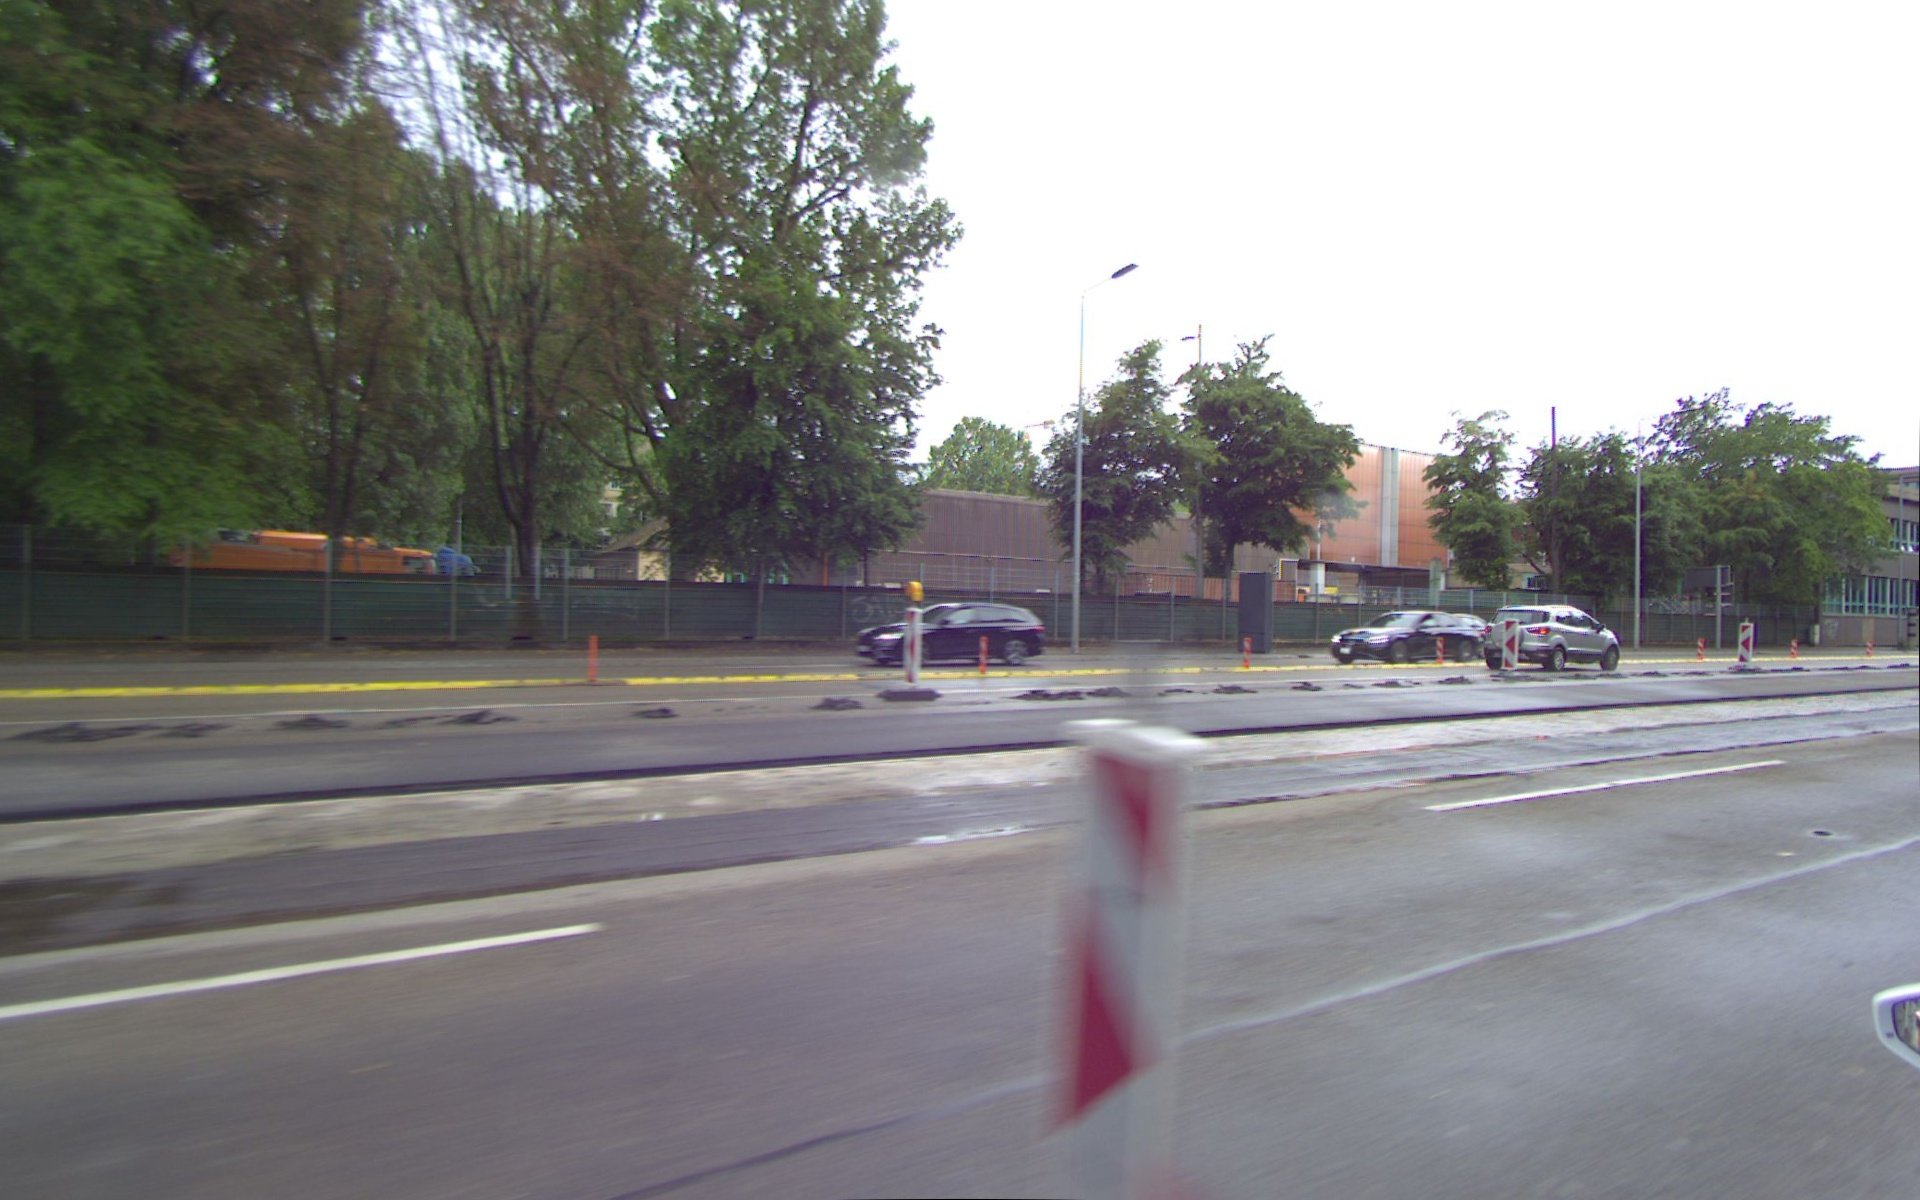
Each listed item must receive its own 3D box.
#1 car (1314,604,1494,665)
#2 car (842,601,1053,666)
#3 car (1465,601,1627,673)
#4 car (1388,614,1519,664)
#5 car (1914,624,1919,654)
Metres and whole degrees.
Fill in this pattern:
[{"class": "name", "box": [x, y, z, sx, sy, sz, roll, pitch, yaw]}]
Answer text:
[{"class": "car", "box": [12.449, 0.932, 28.074, 5.030, 1.533, 2.068, 1, 0, -31]}, {"class": "car", "box": [-0.267, 0.781, 23.305, 4.510, 1.366, 1.985, 2, 0, -29]}, {"class": "car", "box": [14.859, 0.918, 25.449, 3.954, 1.670, 1.845, 2, 0, -31]}, {"class": "car", "box": [16.703, 1.314, 33.970, 4.255, 1.538, 1.984, 2, 0, -31]}, {"class": "car", "box": [50.742, 2.017, 51.203, 4.216, 1.533, 1.984, 1, 0, -31]}]
